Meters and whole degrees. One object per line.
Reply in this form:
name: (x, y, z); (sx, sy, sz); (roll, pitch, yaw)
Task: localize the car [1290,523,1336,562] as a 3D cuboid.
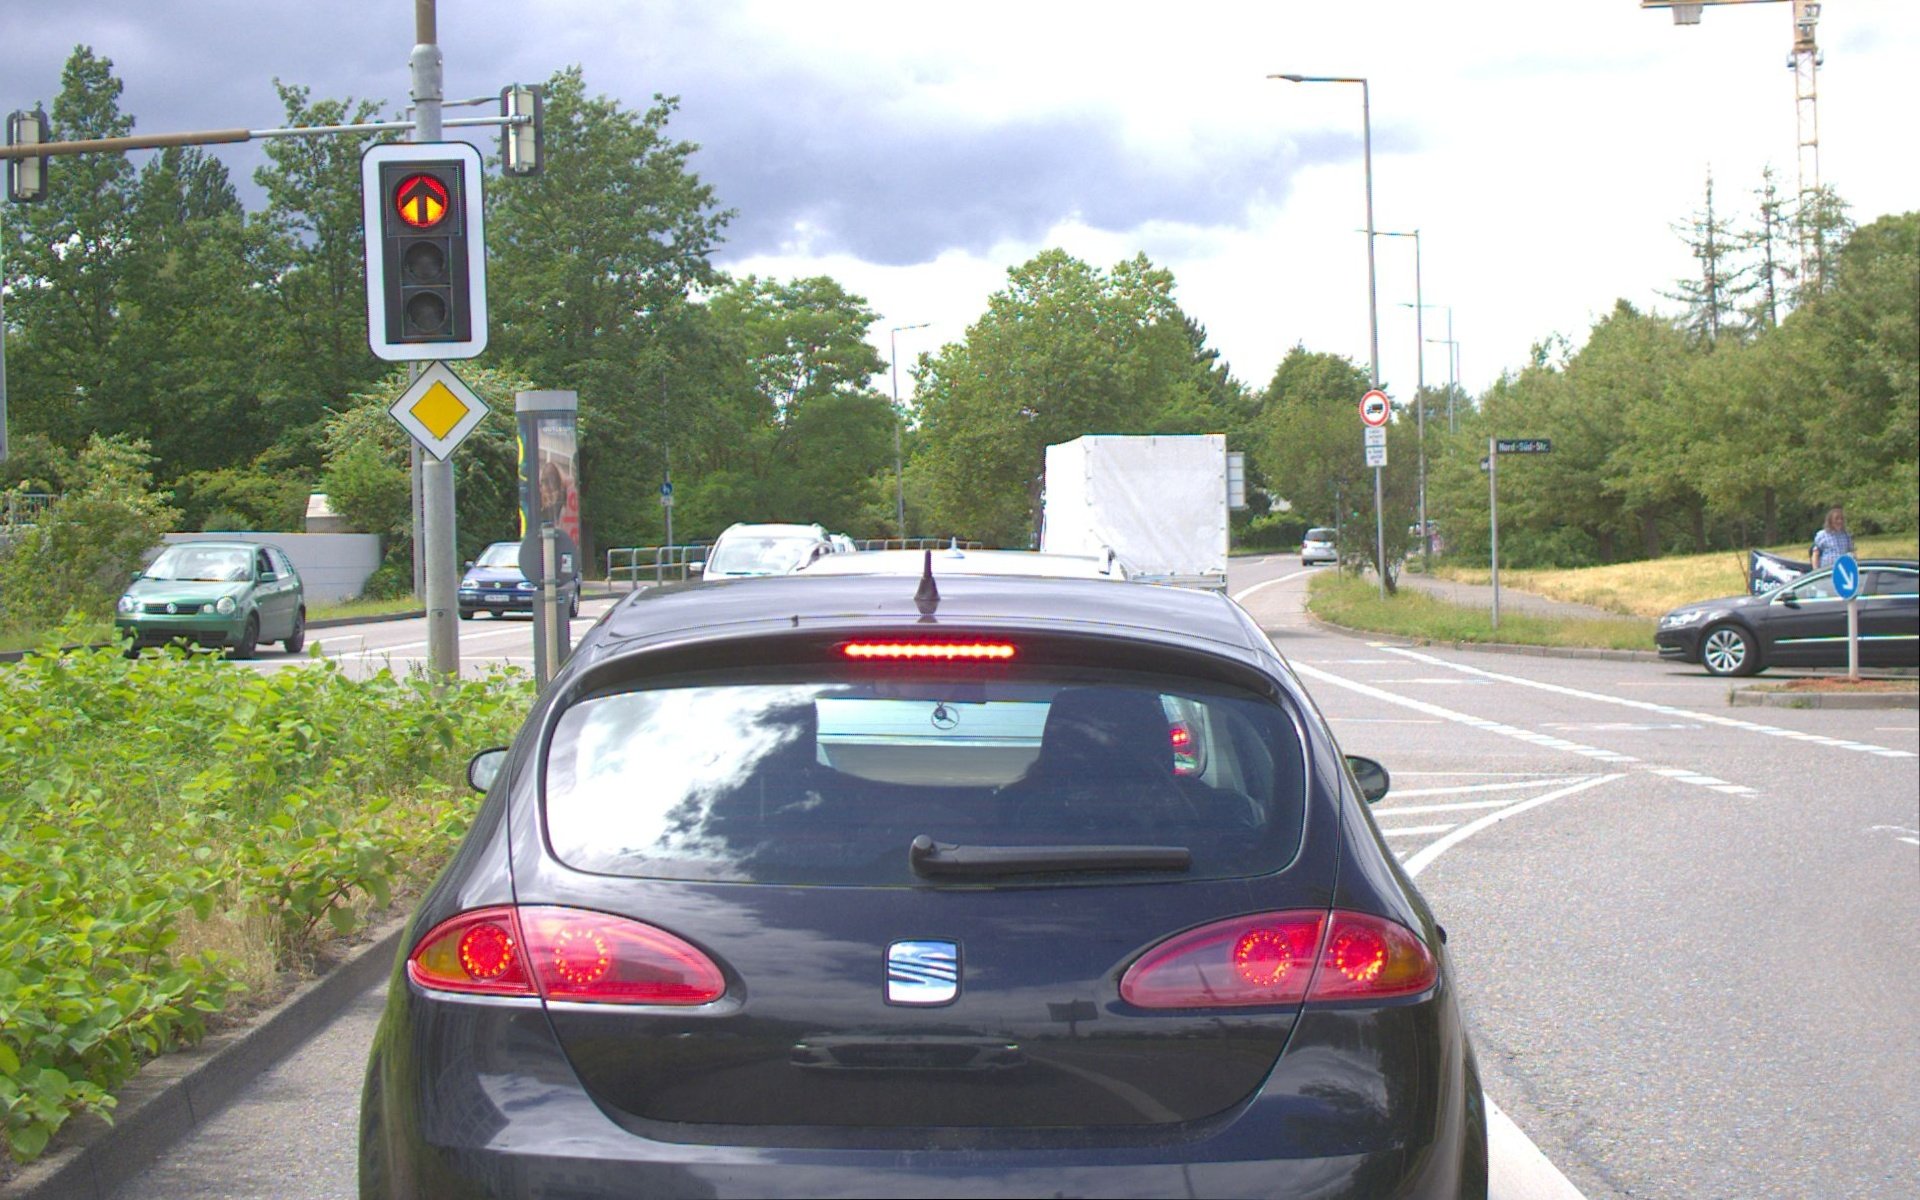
car: (14.939, -2.425, 145.367); (1.668, 1.590, 3.998); (1, 1, 9)

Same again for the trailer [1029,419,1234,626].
trailer: (2.622, -1.185, 54.128); (2.491, 3.063, 5.588); (1, 1, -4)

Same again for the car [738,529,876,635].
car: (-2.285, -0.303, 52.272); (1.660, 1.513, 4.084); (1, 1, 3)

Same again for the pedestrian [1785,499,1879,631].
pedestrian: (11.930, -0.480, 47.067); (0.718, 1.786, 1.044); (1, 0, -27)

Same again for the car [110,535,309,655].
car: (-9.426, -0.097, 43.430); (1.605, 1.427, 3.752); (0, 1, 2)

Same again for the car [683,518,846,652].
car: (-2.575, -0.249, 46.194); (1.820, 1.681, 4.645); (1, 1, 1)

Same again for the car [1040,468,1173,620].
car: (2.498, -0.959, 59.975); (2.126, 2.509, 5.835); (1, 1, 1)

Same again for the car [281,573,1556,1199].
car: (-0.073, 0.687, 6.368); (1.711, 1.412, 3.459); (1, 1, 0)

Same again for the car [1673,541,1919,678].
car: (10.767, 0.129, 40.297); (4.461, 1.560, 1.998); (0, -1, 21)

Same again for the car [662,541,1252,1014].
car: (0.010, 0.539, 12.694); (1.834, 1.462, 3.751); (1, 1, 1)

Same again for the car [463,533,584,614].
car: (-8.003, -0.513, 63.322); (1.554, 1.414, 3.895); (0, 1, 3)
